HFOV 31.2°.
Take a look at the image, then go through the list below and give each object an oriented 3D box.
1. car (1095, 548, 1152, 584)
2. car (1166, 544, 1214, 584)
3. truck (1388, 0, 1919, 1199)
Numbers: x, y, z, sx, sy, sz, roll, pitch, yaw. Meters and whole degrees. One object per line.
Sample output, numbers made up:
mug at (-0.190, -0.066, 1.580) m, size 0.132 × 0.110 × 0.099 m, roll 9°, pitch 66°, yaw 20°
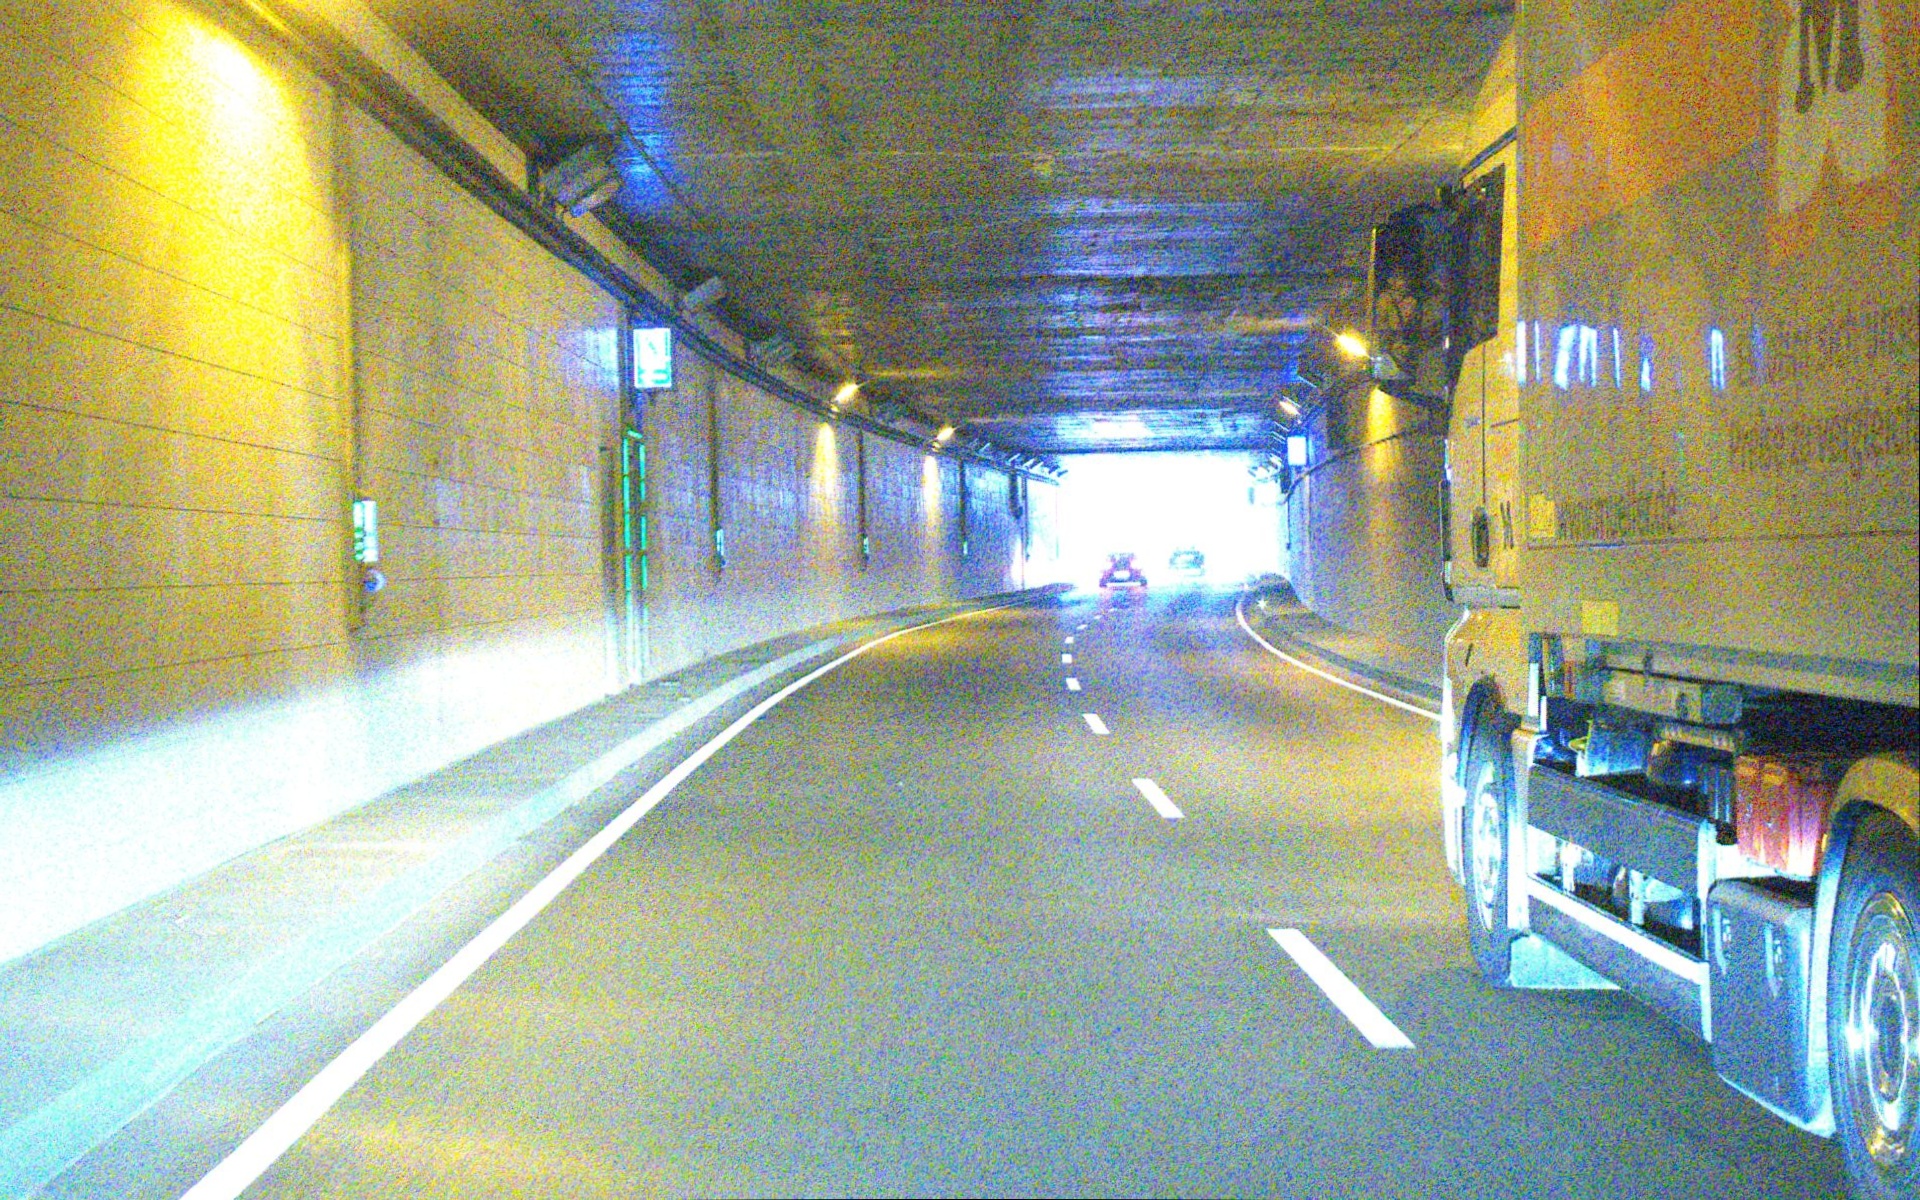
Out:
car at (6.300, -1.305, 132.128) m, size 1.842 × 1.384 × 3.999 m, roll 0°, pitch 0°, yaw 7°
car at (10.087, -1.583, 150.963) m, size 1.869 × 1.726 × 4.000 m, roll 0°, pitch 0°, yaw 1°
truck at (3.159, -0.599, 8.182) m, size 2.888 × 3.900 × 9.910 m, roll 0°, pitch 1°, yaw -1°
